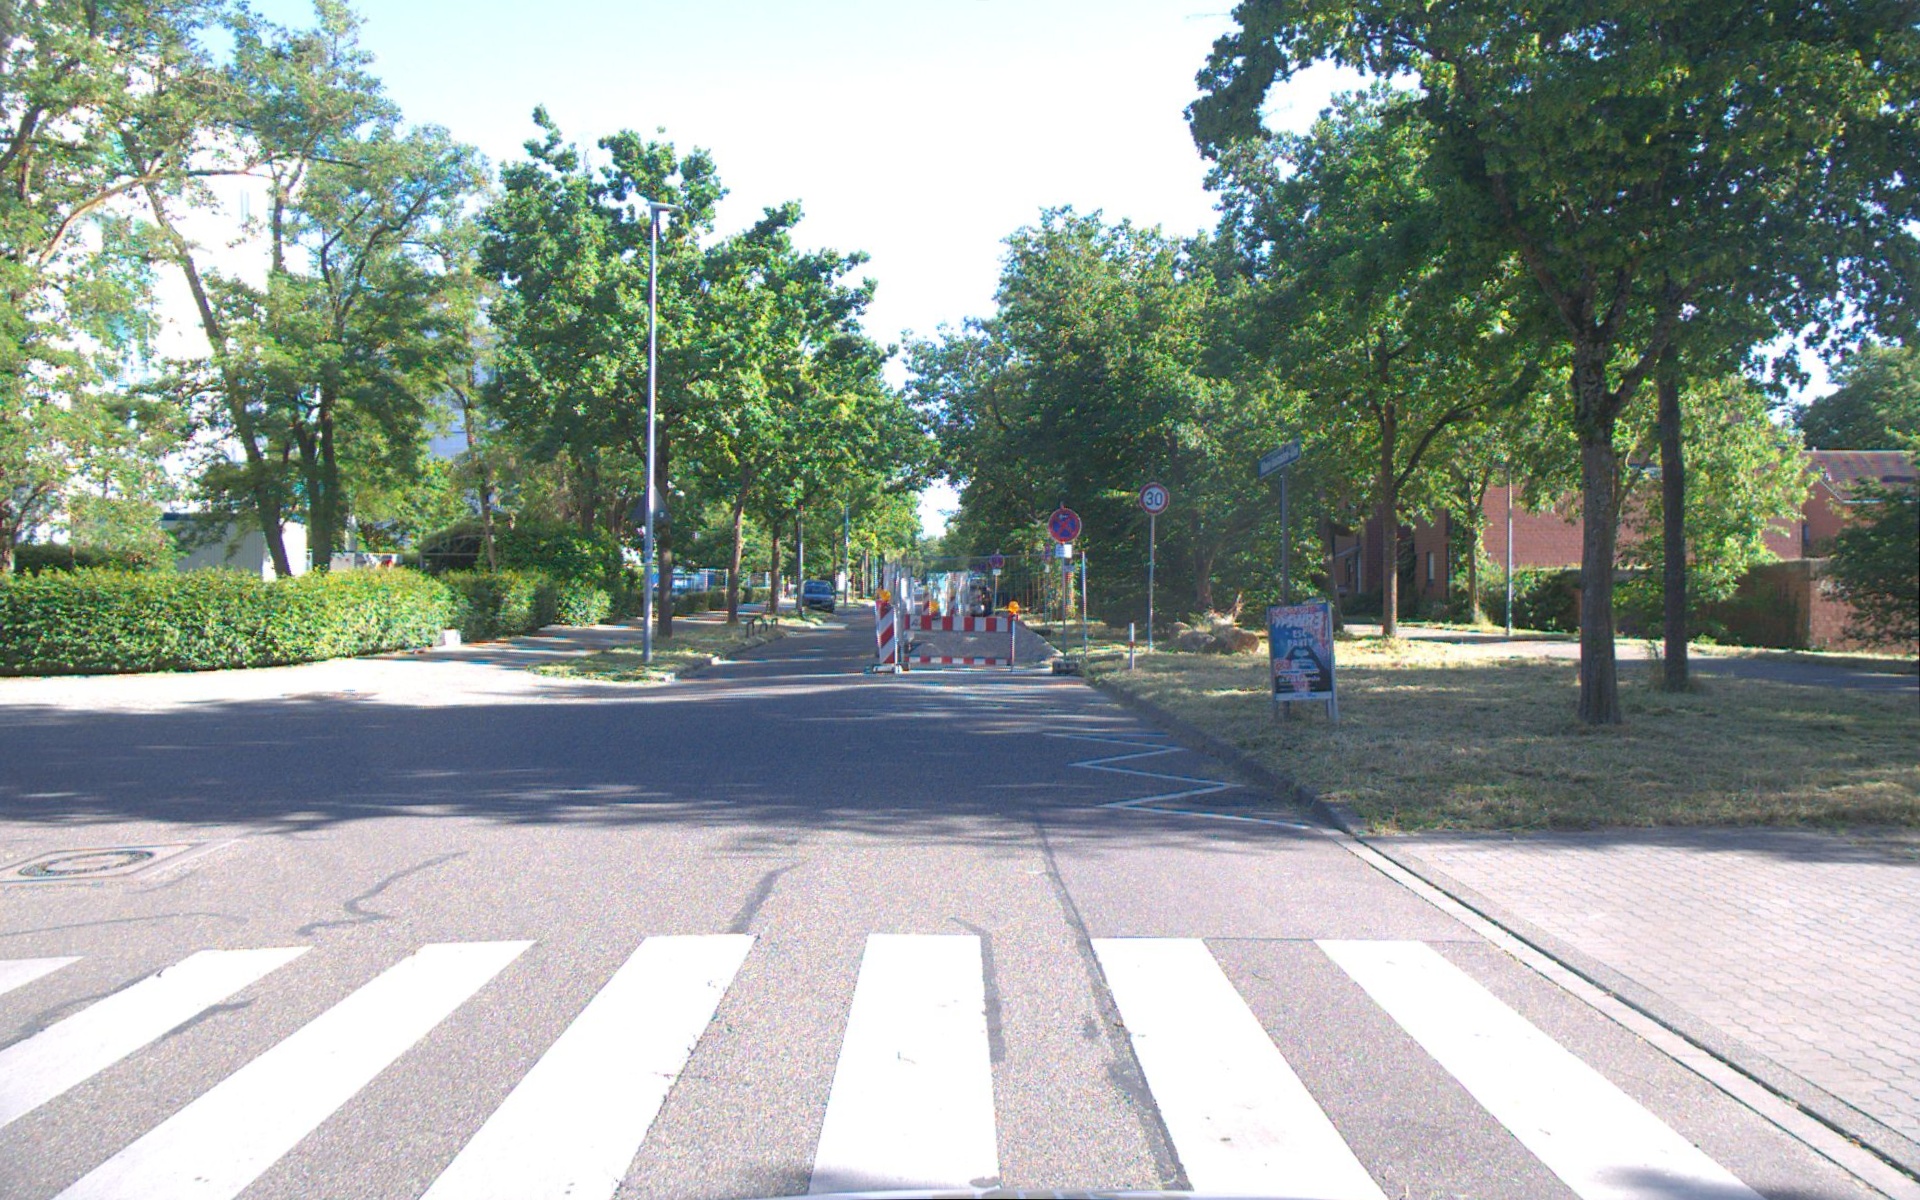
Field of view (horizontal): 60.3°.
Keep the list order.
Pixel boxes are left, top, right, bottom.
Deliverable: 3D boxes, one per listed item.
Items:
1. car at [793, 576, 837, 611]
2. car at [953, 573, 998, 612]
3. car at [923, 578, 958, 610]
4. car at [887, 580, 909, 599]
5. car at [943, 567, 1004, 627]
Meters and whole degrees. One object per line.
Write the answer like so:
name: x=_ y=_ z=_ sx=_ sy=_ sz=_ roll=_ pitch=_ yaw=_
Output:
car: x=-7.342 y=-0.333 z=83.866 sx=1.953 sy=1.746 sz=3.999 roll=0 pitch=0 yaw=-1
car: x=0.704 y=-0.364 z=77.898 sx=1.953 sy=1.746 sz=3.999 roll=0 pitch=0 yaw=-1
car: x=-1.127 y=-0.344 z=93.619 sx=1.953 sy=1.746 sz=3.999 roll=0 pitch=0 yaw=-1
car: x=-5.634 y=-0.946 z=151.483 sx=1.953 sy=1.746 sz=3.999 roll=0 pitch=0 yaw=-1
car: x=0.433 y=-0.121 z=57.005 sx=1.953 sy=1.966 sz=3.999 roll=0 pitch=0 yaw=-1
